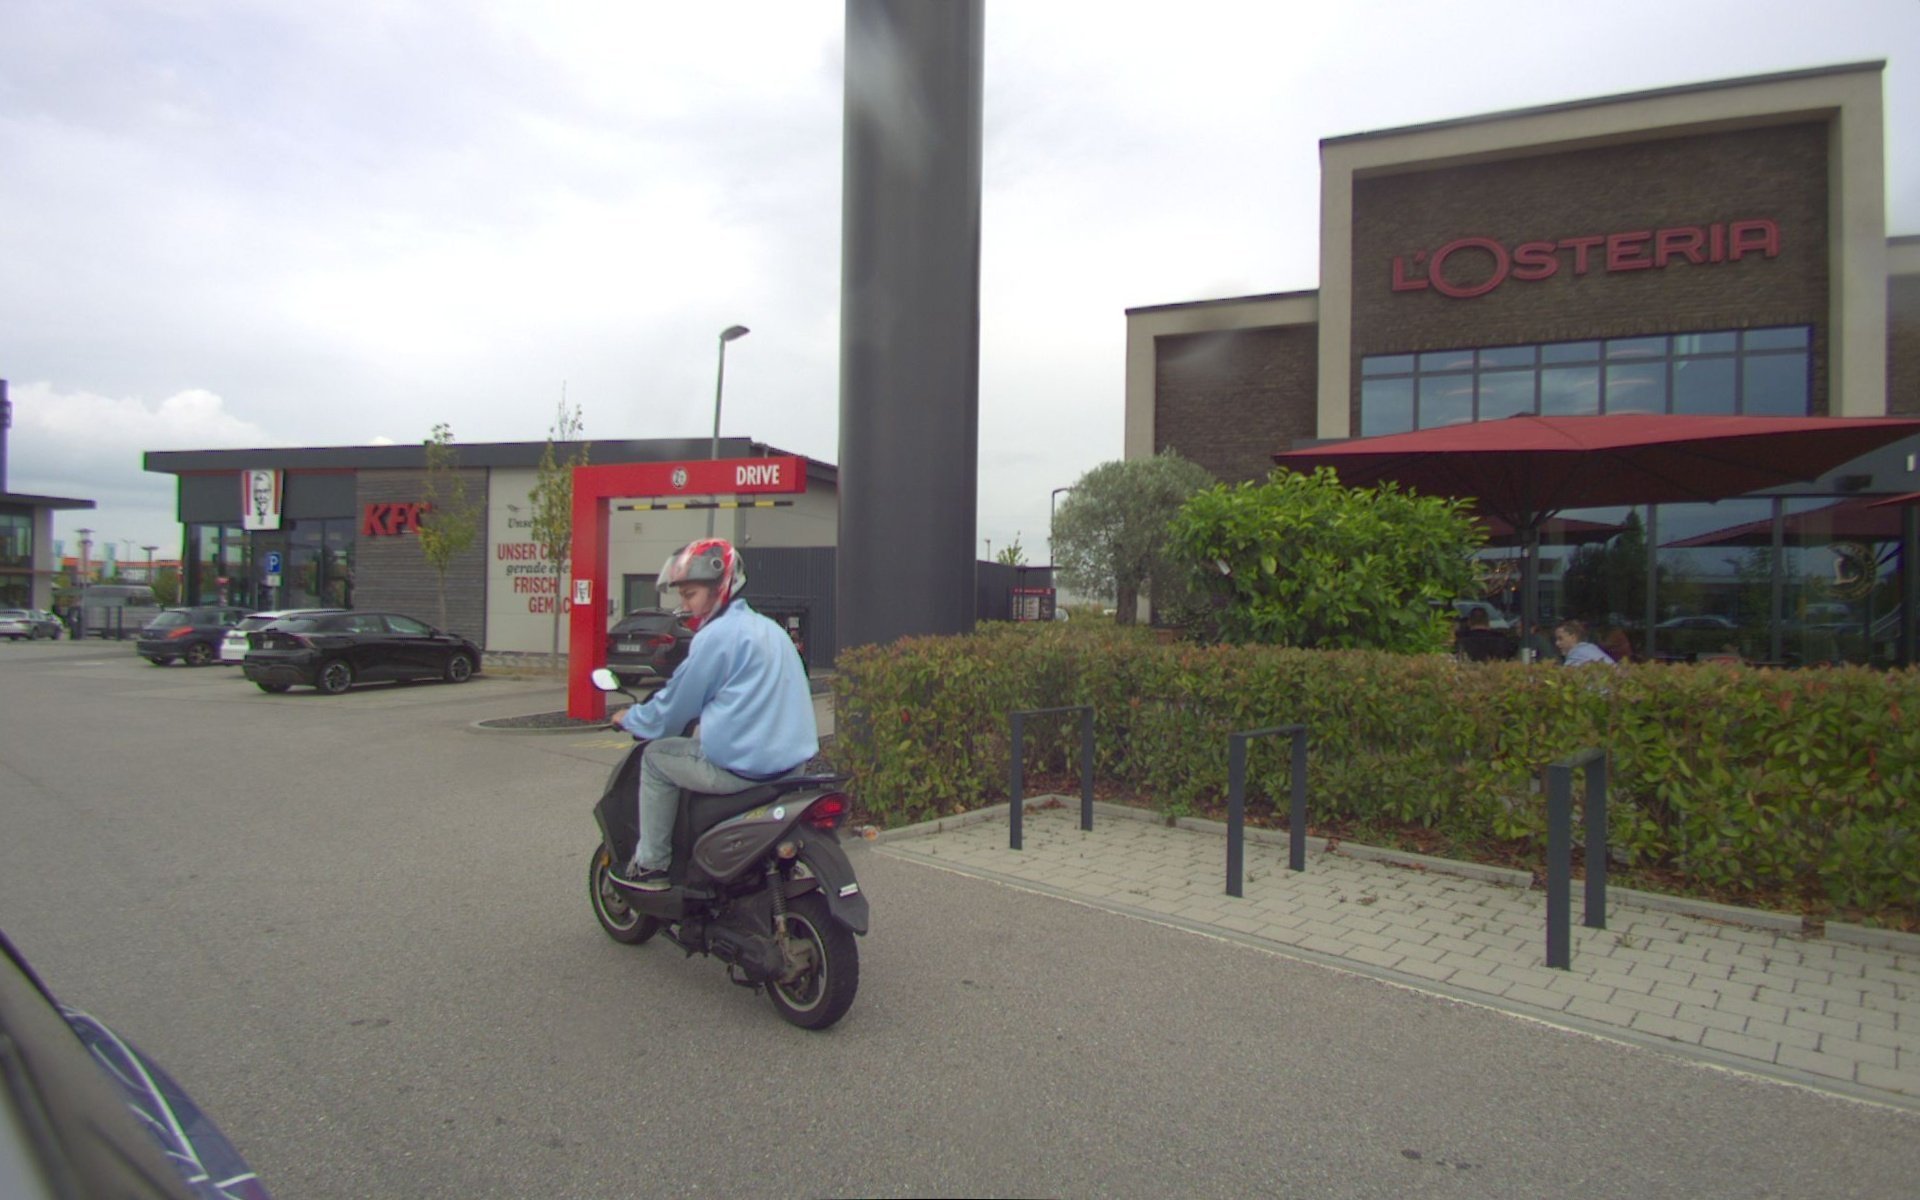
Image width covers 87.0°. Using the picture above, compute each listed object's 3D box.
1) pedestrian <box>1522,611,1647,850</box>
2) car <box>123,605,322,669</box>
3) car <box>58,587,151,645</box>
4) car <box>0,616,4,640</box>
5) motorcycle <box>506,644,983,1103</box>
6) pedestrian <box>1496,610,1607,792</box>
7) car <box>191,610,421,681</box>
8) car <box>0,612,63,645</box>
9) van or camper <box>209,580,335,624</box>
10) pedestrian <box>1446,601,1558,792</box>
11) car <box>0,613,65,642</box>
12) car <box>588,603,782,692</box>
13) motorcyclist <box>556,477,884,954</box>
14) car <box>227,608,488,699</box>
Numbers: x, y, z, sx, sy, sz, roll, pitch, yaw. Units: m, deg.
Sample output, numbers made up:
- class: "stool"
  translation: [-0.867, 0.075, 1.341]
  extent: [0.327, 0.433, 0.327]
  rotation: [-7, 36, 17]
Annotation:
- class: "pedestrian"
  translation: [4.947, 0.984, 8.022]
  extent: [0.742, 1.761, 0.694]
  rotation: [-1, -3, 41]
- class: "car"
  translation: [-19.327, 0.907, 26.718]
  extent: [1.747, 1.498, 3.910]
  rotation: [-1, 0, 23]
- class: "car"
  translation: [-41.152, 0.810, 48.886]
  extent: [2.037, 2.573, 7.035]
  rotation: [0, -2, -29]
- class: "car"
  translation: [-60.494, 1.749, 61.816]
  extent: [1.759, 1.497, 4.013]
  rotation: [3, 0, -24]
- class: "motorcycle"
  translation: [-0.893, 0.816, 3.809]
  extent: [1.921, 1.217, 0.784]
  rotation: [0, 0, 42]
- class: "pedestrian"
  translation: [5.982, 1.000, 10.272]
  extent: [0.694, 1.761, 0.742]
  rotation: [1, -2, 3]
- class: "car"
  translation: [-15.163, 1.013, 23.717]
  extent: [1.987, 1.497, 4.147]
  rotation: [0, -1, 23]
- class: "car"
  translation: [-43.254, 1.306, 46.690]
  extent: [1.658, 1.462, 4.013]
  rotation: [0, -2, -24]
- class: "van or camper"
  translation: [-44.761, 0.137, 66.047]
  extent: [6.460, 2.721, 2.179]
  rotation: [0, -2, -20]
- class: "pedestrian"
  translation: [5.235, 0.907, 9.816]
  extent: [0.694, 1.761, 0.742]
  rotation: [1, -2, 3]
- class: "car"
  translation: [-49.499, 1.432, 52.677]
  extent: [4.040, 1.478, 1.785]
  rotation: [1, -3, -28]
- class: "car"
  translation: [-5.409, 0.875, 20.440]
  extent: [1.725, 1.608, 3.970]
  rotation: [0, 0, 22]
- class: "motorcyclist"
  translation: [-0.906, 0.360, 3.807]
  extent: [0.941, 1.500, 0.819]
  rotation: [0, 0, 42]
- class: "car"
  translation: [-11.362, 0.961, 19.429]
  extent: [1.730, 1.540, 4.092]
  rotation: [0, -1, 22]
